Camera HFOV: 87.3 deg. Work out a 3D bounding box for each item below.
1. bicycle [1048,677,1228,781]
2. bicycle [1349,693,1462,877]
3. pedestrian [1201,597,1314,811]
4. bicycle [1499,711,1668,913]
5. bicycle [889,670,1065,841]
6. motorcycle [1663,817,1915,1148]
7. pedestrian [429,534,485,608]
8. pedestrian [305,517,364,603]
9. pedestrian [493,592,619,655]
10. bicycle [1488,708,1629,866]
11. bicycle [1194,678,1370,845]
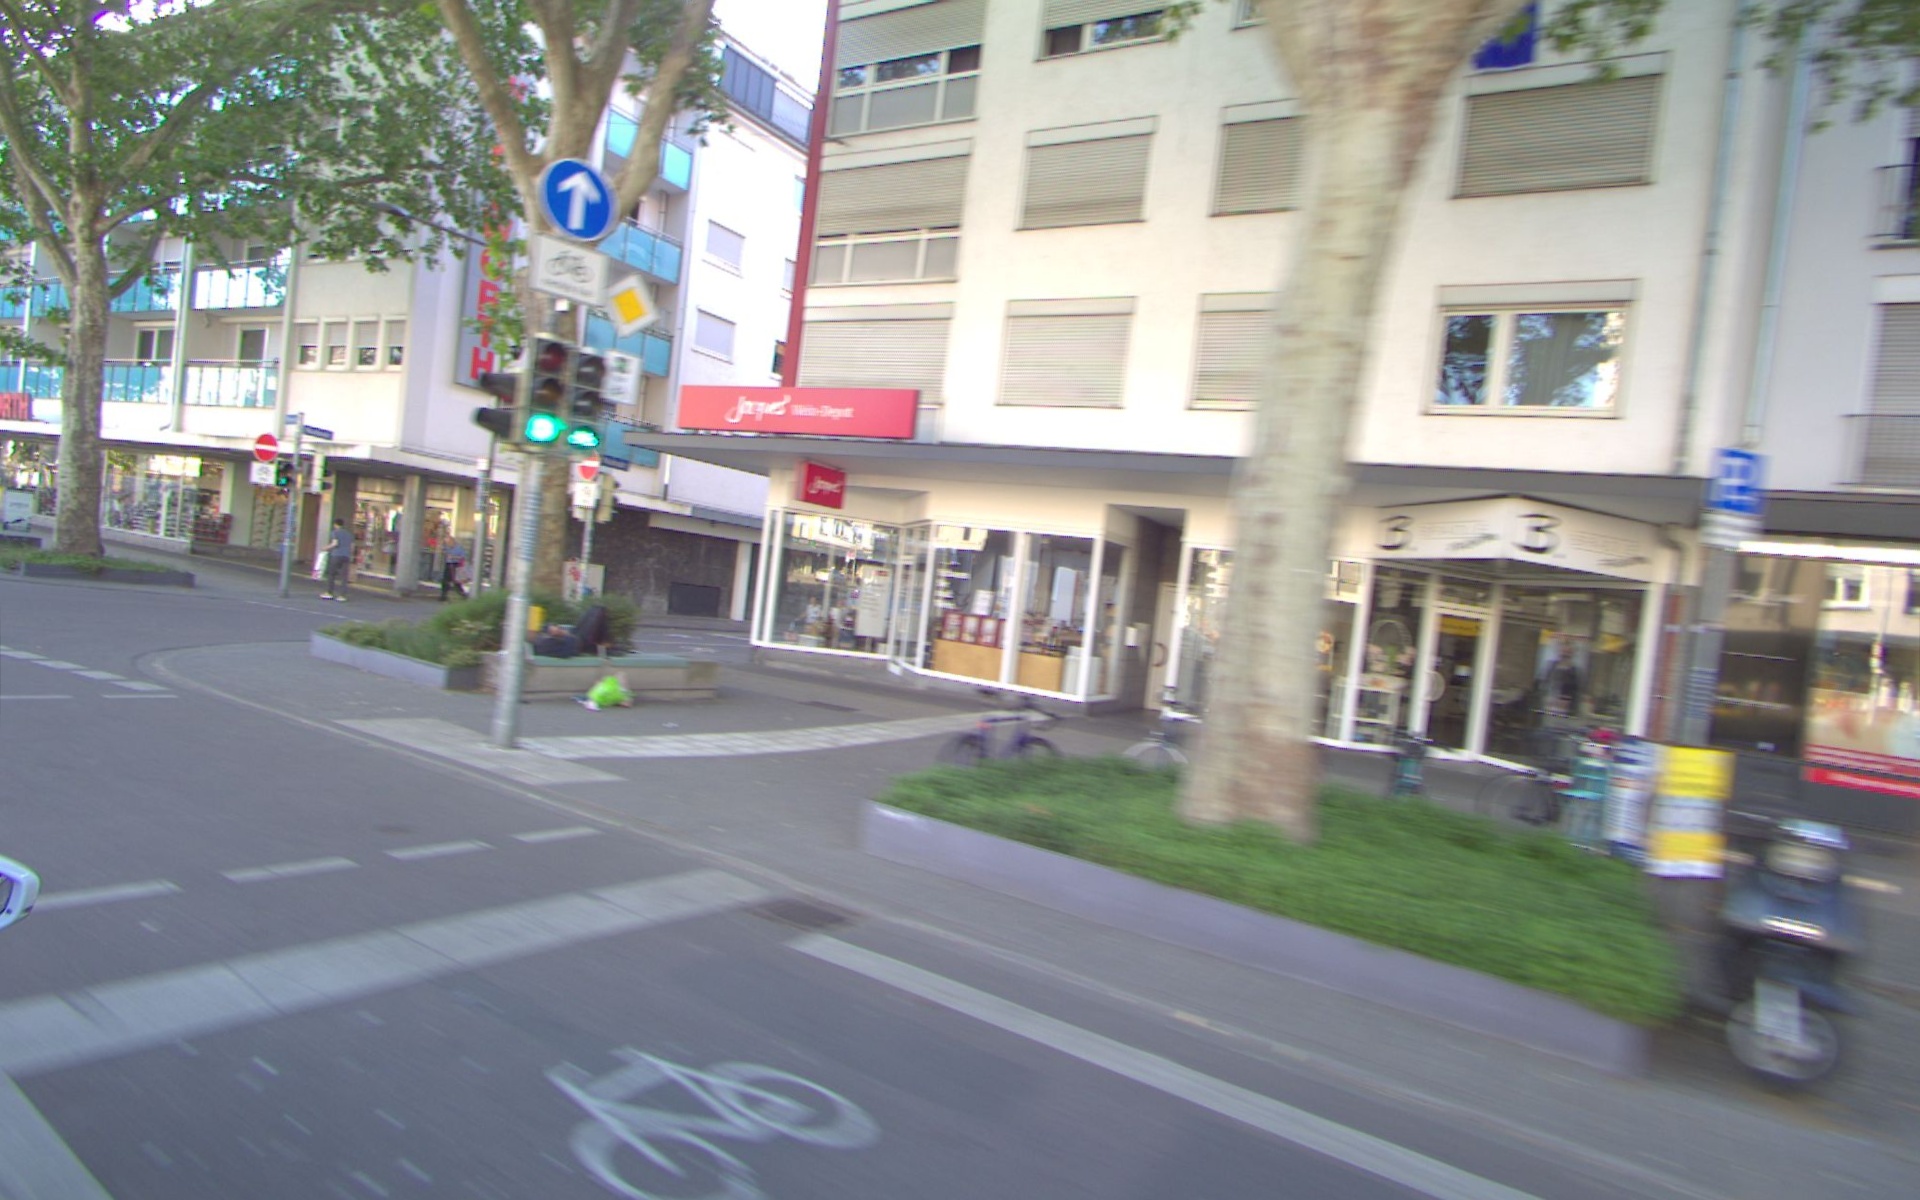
[{"bbox_3d":[1.687,1.166,9.303,0.702,0.775,1.873,7,0,42],"label":"bicycle"},{"bbox_3d":[3.808,1.482,8.523,0.660,1.205,1.787,6,2,27],"label":"bicycle"},{"bbox_3d":[2.875,0.970,9.682,0.809,1.900,0.644,6,1,20],"label":"pedestrian"},{"bbox_3d":[5.073,1.601,8.110,0.819,1.248,2.078,7,1,38],"label":"bicycle"},{"bbox_3d":[0.174,1.172,7.652,0.453,1.117,1.512,7,-3,34],"label":"bicycle"},{"bbox_3d":[3.568,1.561,4.456,0.535,0.903,1.572,6,0,30],"label":"motorcycle"},{"bbox_3d":[-12.593,-0.722,25.185,0.820,1.701,0.749,9,2,27],"label":"pedestrian"},{"bbox_3d":[-14.024,-0.893,22.566,0.752,1.817,0.780,7,2,34],"label":"pedestrian"},{"bbox_3d":[-4.584,0.283,11.471,0.474,0.596,1.256,7,-1,32],"label":"pedestrian"},{"bbox_3d":[5.477,1.634,9.151,0.669,1.169,1.760,7,2,42],"label":"bicycle"},{"bbox_3d":[2.911,1.367,8.975,0.702,1.205,1.871,7,3,42],"label":"bicycle"}]
